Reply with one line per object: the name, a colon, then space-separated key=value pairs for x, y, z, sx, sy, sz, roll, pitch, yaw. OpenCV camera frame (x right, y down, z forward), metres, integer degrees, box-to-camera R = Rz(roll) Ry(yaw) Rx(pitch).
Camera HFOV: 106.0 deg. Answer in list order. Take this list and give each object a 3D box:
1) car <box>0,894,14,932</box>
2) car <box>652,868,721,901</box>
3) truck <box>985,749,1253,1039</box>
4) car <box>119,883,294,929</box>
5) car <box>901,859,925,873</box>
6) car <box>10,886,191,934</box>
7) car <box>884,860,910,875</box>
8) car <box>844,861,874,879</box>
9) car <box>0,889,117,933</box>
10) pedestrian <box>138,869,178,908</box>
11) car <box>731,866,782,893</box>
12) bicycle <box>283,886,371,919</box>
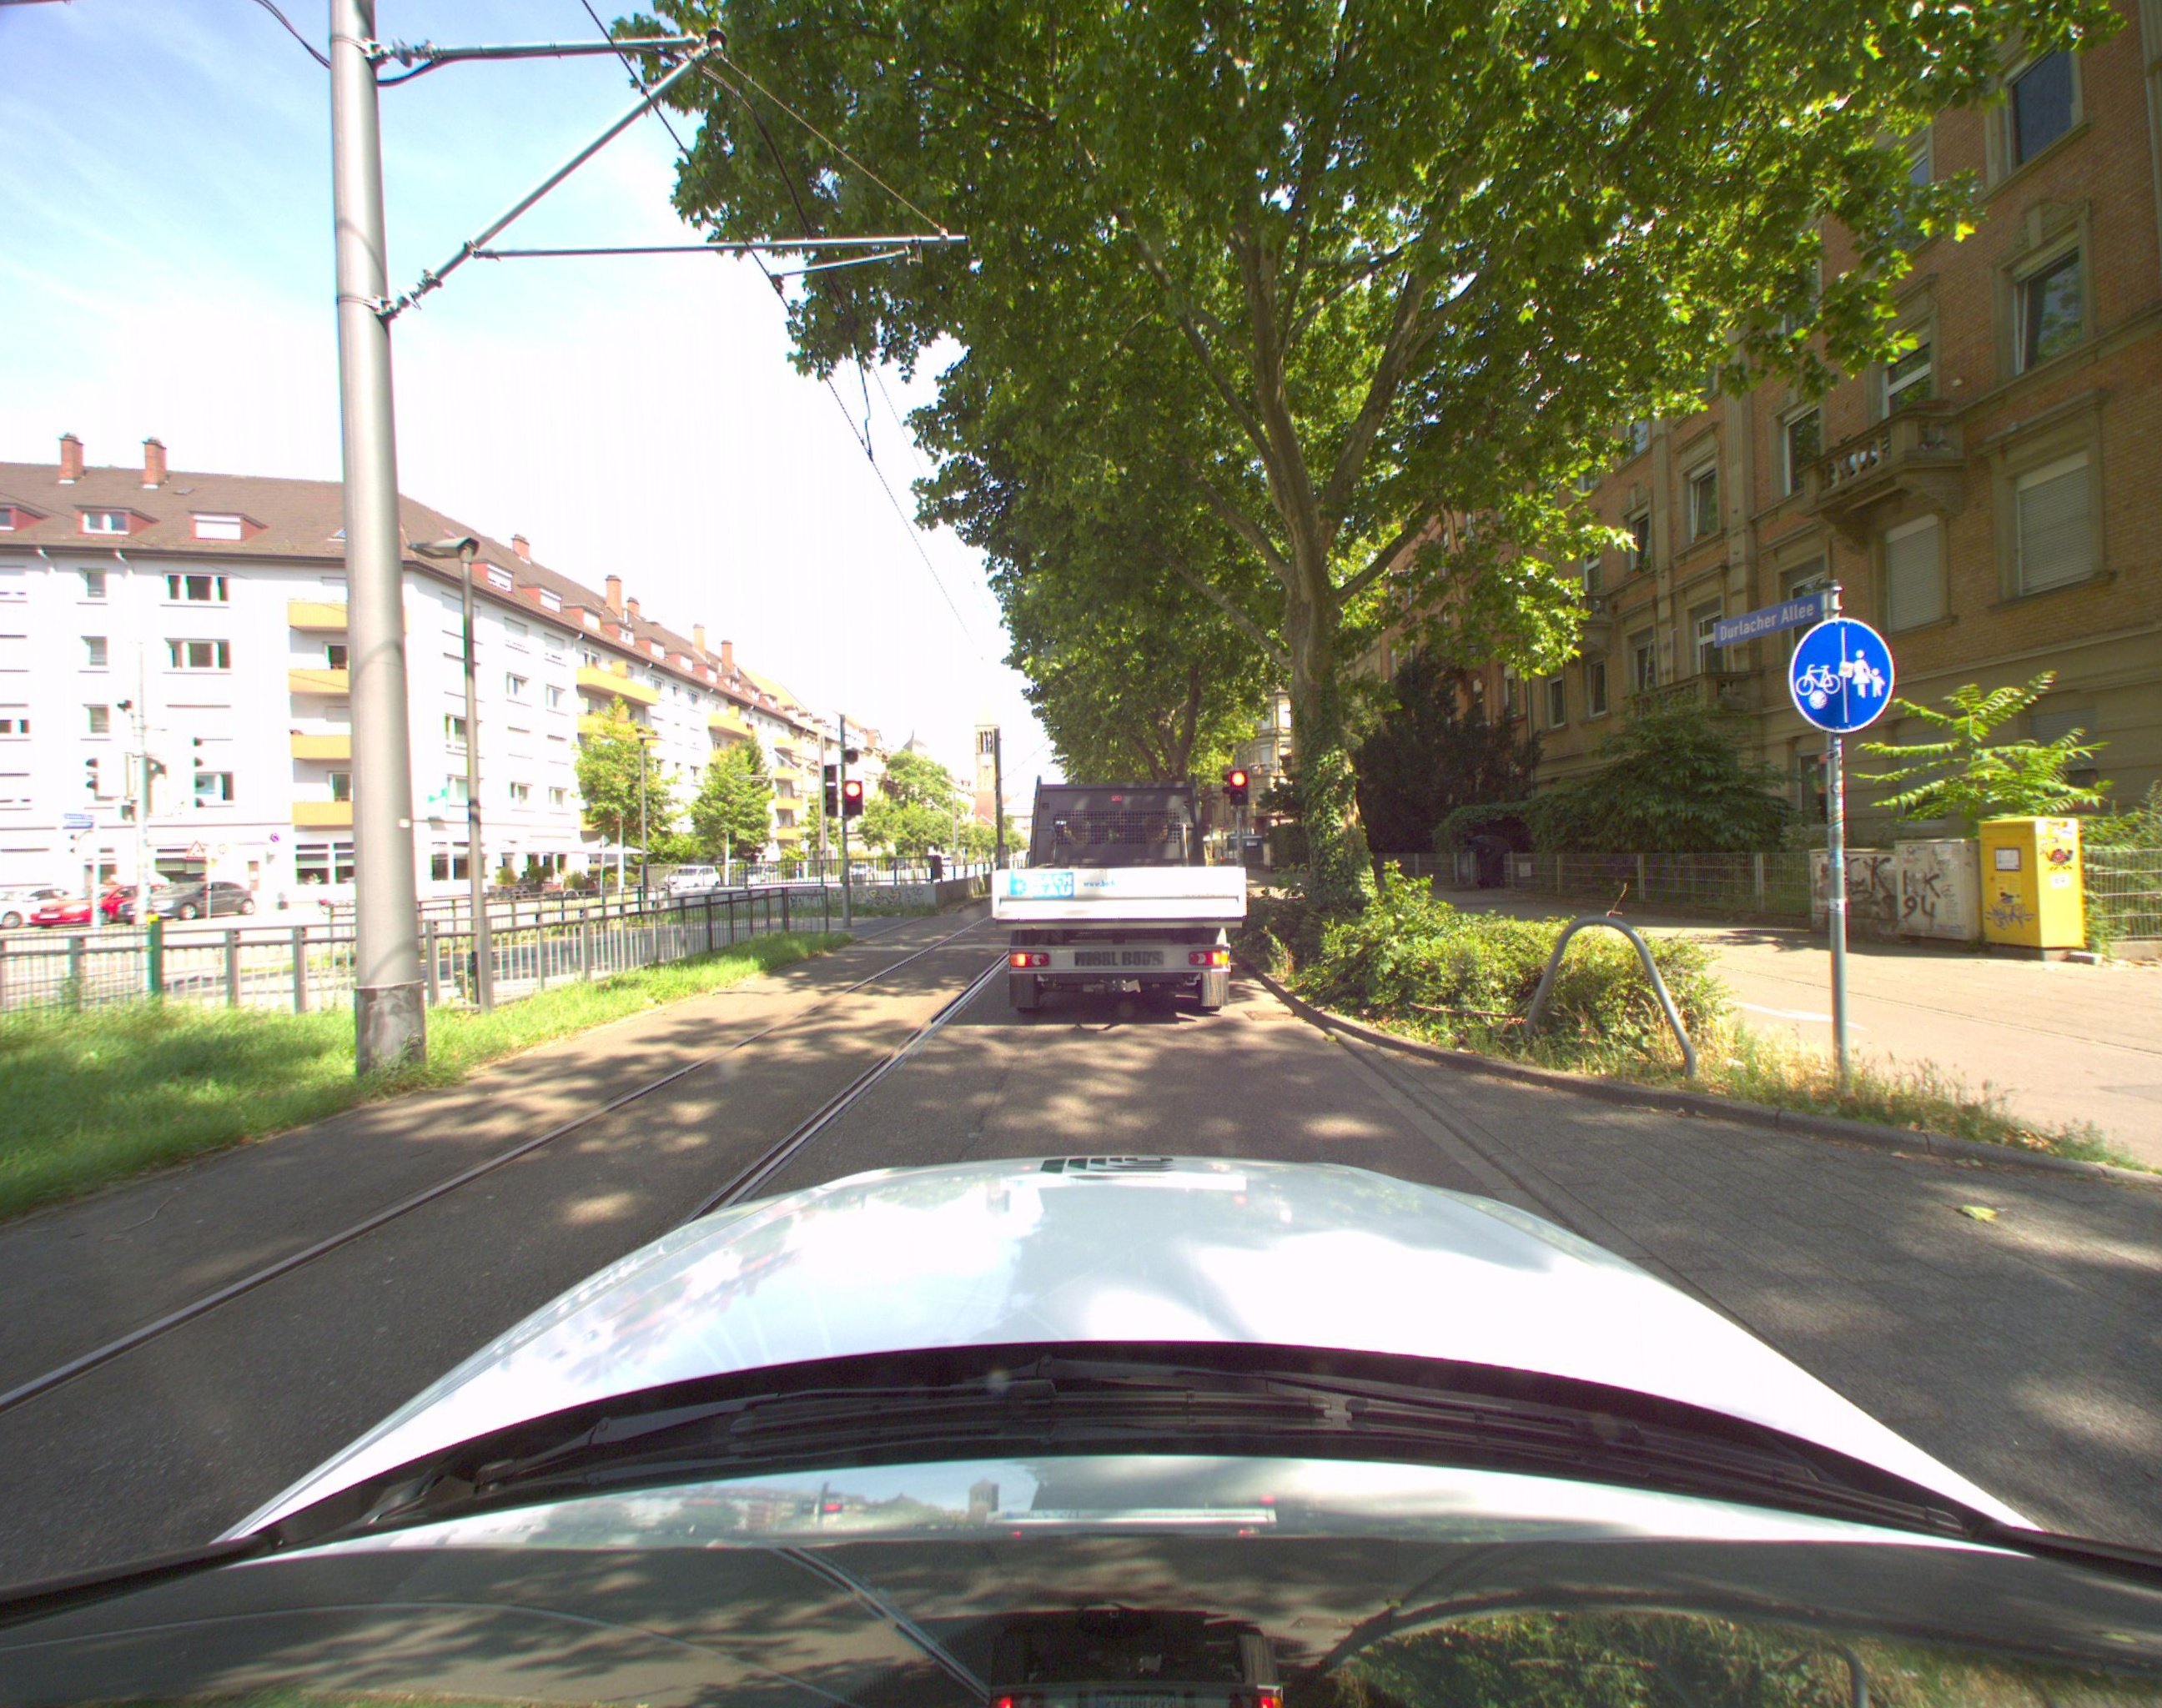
car: x=-41.841 y=2.268 z=29.151 sx=1.930 sy=1.406 sz=4.158 roll=-2 pitch=0 yaw=-6
car: x=-20.512 y=1.561 z=42.532 sx=1.767 sy=1.498 sz=3.994 roll=-3 pitch=0 yaw=-4
truck: x=0.408 y=0.328 z=8.828 sx=2.130 sy=2.319 sz=4.404 roll=-1 pitch=0 yaw=3
car: x=-33.143 y=1.926 z=31.095 sx=1.830 sy=1.376 sz=4.637 roll=-2 pitch=0 yaw=-4
car: x=-19.351 y=1.390 z=93.964 sx=1.764 sy=1.498 sz=4.000 roll=-2 pitch=0 yaw=0
car: x=-36.501 y=2.036 z=30.523 sx=1.930 sy=1.406 sz=4.158 roll=-2 pitch=0 yaw=-6
car: x=-19.432 y=1.387 z=86.123 sx=1.764 sy=1.498 sz=4.000 roll=-2 pitch=0 yaw=0
car: x=-19.806 y=1.386 z=72.649 sx=1.767 sy=1.498 sz=3.994 roll=-2 pitch=0 yaw=-4
car: x=-39.289 y=2.136 z=30.355 sx=1.930 sy=1.406 sz=4.158 roll=-2 pitch=0 yaw=-6
pedestrian: x=-38.553 y=1.444 z=34.038 sx=0.861 sy=1.572 sz=0.685 roll=-2 pitch=0 yaw=-22
car: x=-20.294 y=1.564 z=51.113 sx=1.767 sy=1.498 sz=3.994 roll=-3 pitch=0 yaw=-4
bicycle: x=-30.079 y=1.900 z=32.559 sx=0.908 sy=1.137 sz=2.807 roll=-2 pitch=0 yaw=-1
